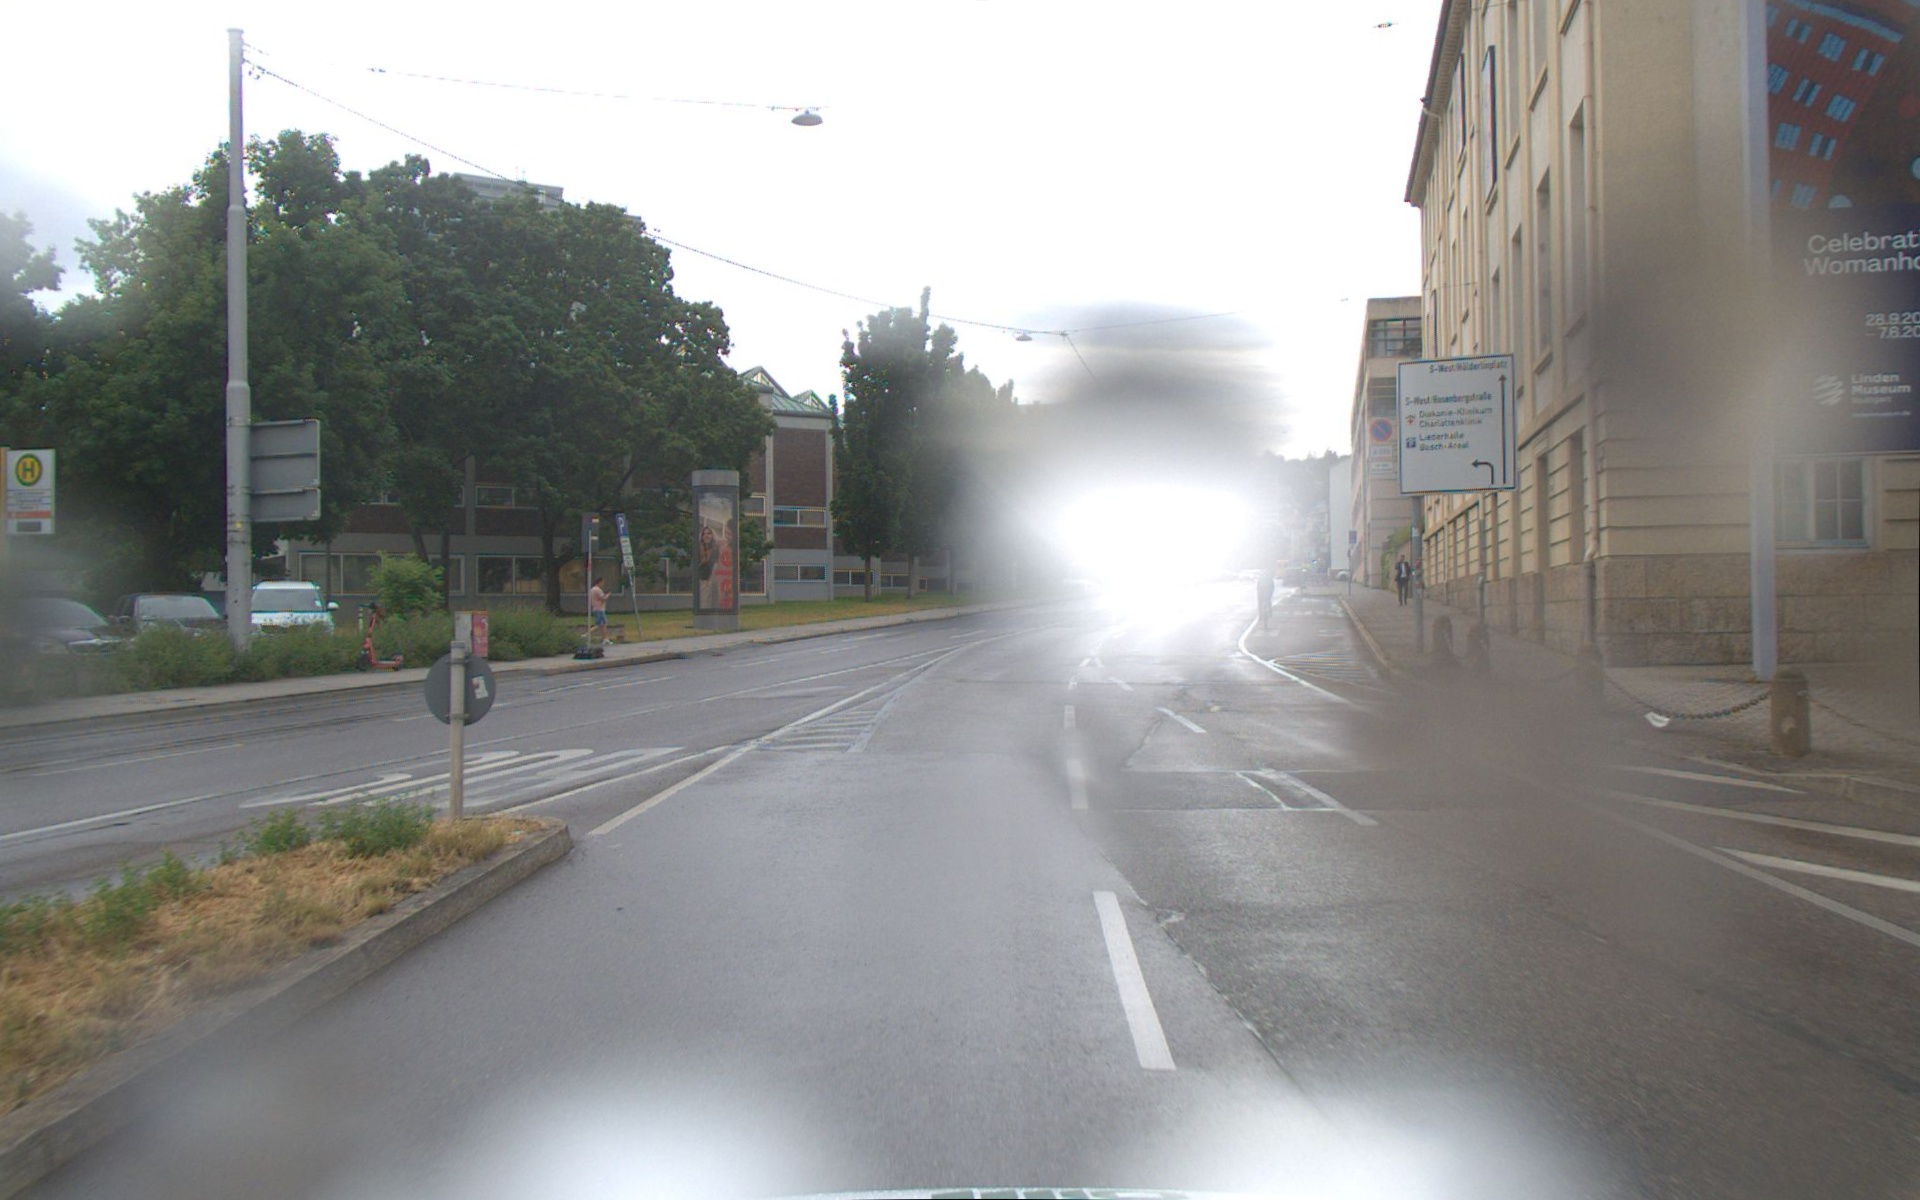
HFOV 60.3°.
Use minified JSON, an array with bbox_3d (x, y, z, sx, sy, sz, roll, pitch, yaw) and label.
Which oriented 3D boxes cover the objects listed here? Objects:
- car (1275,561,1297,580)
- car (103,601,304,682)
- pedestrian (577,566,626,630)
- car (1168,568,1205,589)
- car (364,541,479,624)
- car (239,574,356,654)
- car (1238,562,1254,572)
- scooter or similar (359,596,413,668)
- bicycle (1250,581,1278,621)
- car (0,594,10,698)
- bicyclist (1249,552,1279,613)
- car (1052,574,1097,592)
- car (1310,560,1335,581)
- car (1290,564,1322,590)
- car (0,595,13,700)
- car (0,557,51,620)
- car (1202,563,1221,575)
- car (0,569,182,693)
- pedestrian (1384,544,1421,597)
[{"bbox_3d":[29.748,-2.678,150.658,1.799,1.586,4.005,0,3,13],"label":"car"},{"bbox_3d":[-13.332,0.680,29.104,3.431,1.241,1.826,2,1,37],"label":"car"},{"bbox_3d":[-9.016,-0.063,41.629,0.788,1.598,0.957,1,1,22],"label":"pedestrian"},{"bbox_3d":[19.253,-1.821,140.819,1.861,1.653,3.632,-1,3,-15],"label":"car"},{"bbox_3d":[-12.270,-0.375,37.901,1.813,1.773,4.067,-1,0,-8],"label":"car"},{"bbox_3d":[-13.292,0.222,33.072,1.826,1.467,4.040,-1,1,-27],"label":"car"},{"bbox_3d":[39.131,-4.516,226.462,1.800,1.377,3.419,0,3,16],"label":"car"},{"bbox_3d":[-10.578,0.575,30.508,0.448,1.288,0.978,0,1,17],"label":"scooter or similar"},{"bbox_3d":[8.426,0.028,45.864,0.632,1.075,1.823,0,1,14],"label":"bicycle"},{"bbox_3d":[-15.329,0.619,23.996,1.820,1.439,3.936,-1,2,-44],"label":"car"},{"bbox_3d":[8.444,-0.499,45.854,0.685,1.661,1.129,0,1,17],"label":"bicyclist"},{"bbox_3d":[13.569,-2.066,196.354,5.115,2.048,2.002,0,1,12],"label":"car"},{"bbox_3d":[28.442,-2.326,129.724,1.799,1.586,4.005,0,3,13],"label":"car"},{"bbox_3d":[23.248,-1.567,110.929,1.800,1.586,4.004,0,3,16],"label":"car"},{"bbox_3d":[-15.303,0.709,24.013,1.839,1.467,4.010,-1,0,-43],"label":"car"},{"bbox_3d":[-45.759,-0.544,76.000,3.510,2.866,6.471,0,1,14],"label":"car"},{"bbox_3d":[29.952,-3.685,196.686,1.800,1.256,3.419,0,3,16],"label":"car"},{"bbox_3d":[-14.296,0.427,26.361,3.922,1.799,1.826,1,2,37],"label":"car"},{"bbox_3d":[16.058,-1.078,59.983,1.213,1.819,1.596,-3,0,16],"label":"pedestrian"}]
